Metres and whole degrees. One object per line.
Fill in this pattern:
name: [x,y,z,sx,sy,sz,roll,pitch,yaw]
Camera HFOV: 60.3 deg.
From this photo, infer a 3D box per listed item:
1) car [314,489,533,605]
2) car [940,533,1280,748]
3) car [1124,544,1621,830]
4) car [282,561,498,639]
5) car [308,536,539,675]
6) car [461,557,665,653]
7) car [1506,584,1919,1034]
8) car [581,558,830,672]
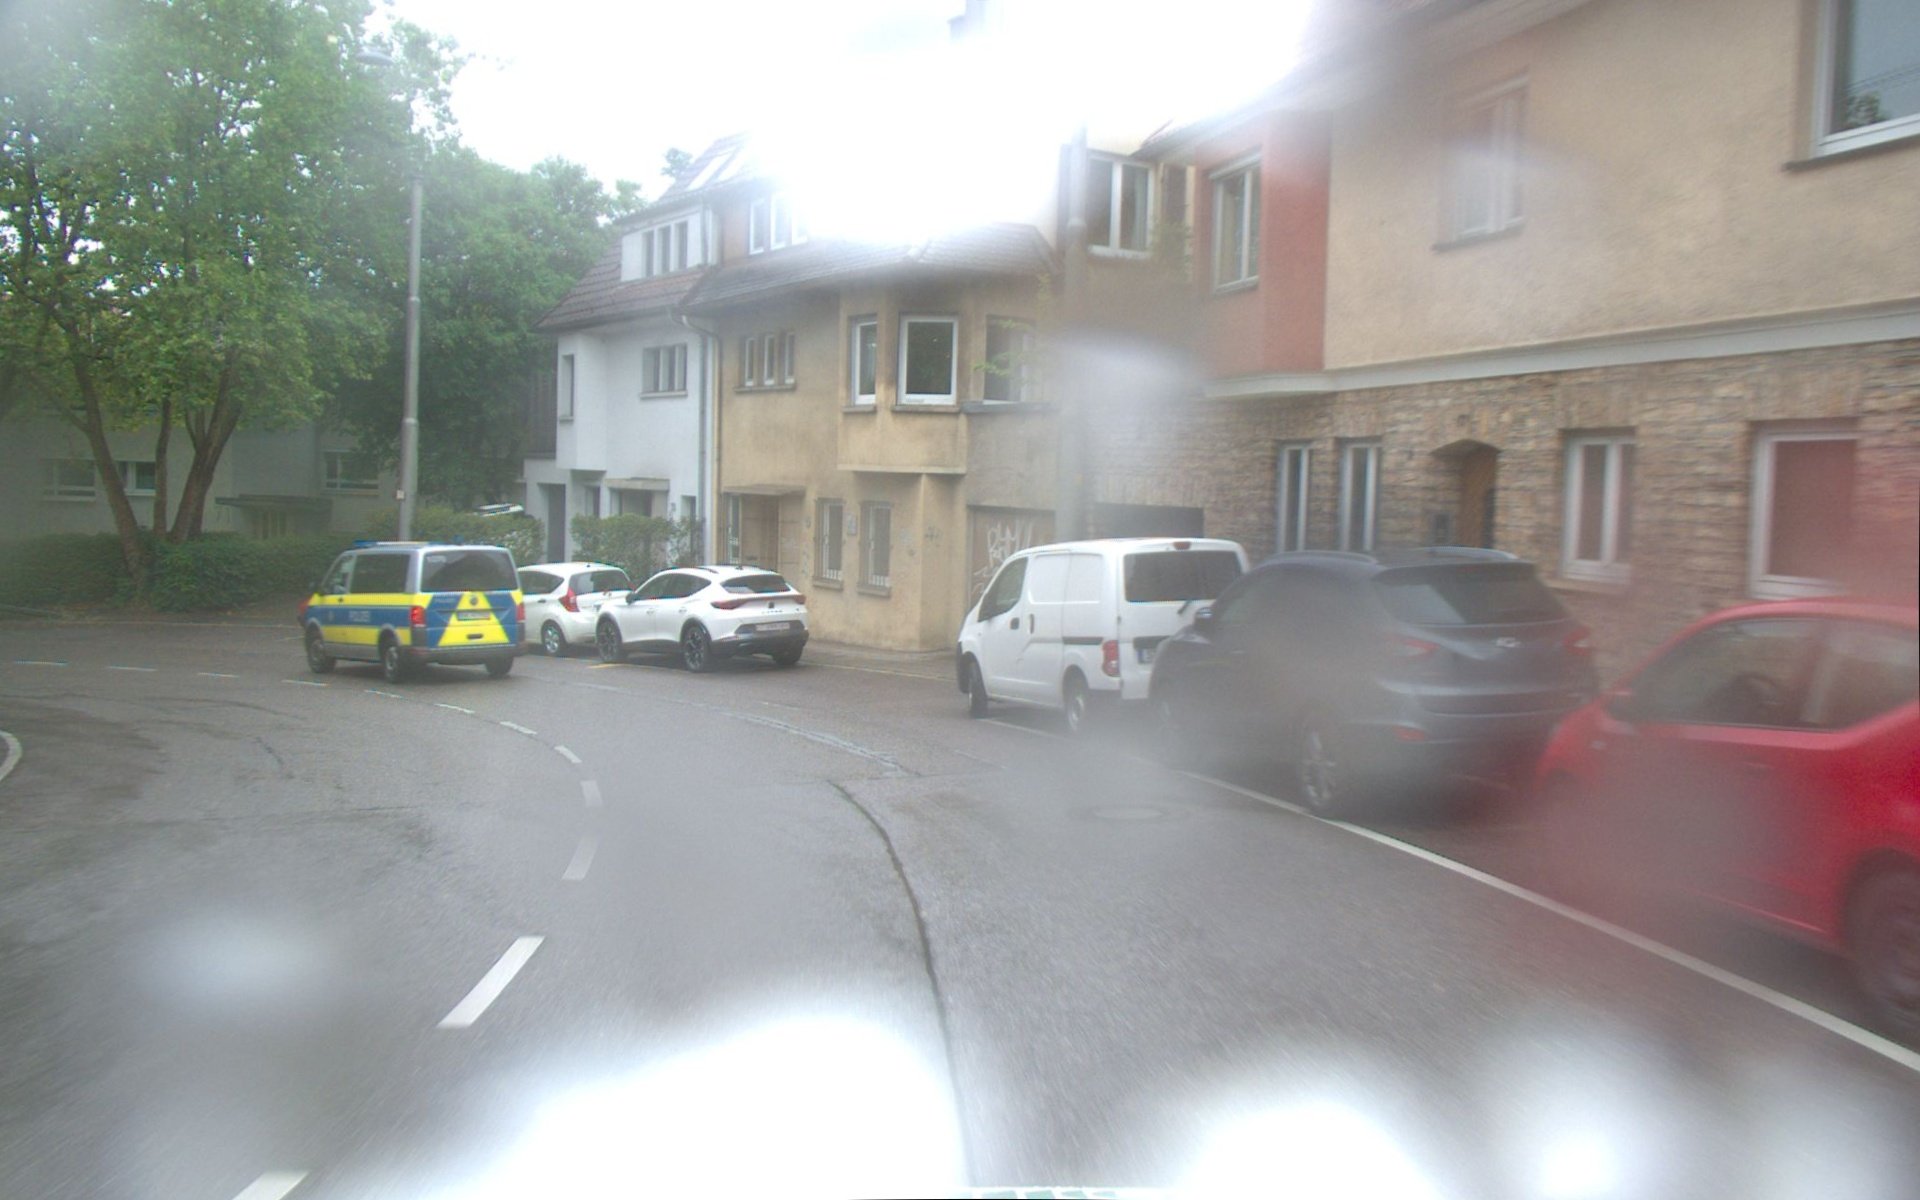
car: [-12.588,-1.305,38.868,4.357,1.871,1.981,-13,10,-29]
car: [1.352,0.294,16.768,1.681,1.822,4.299,-3,2,-21]
car: [2.684,0.433,11.911,1.588,1.632,4.395,-1,2,-14]
car: [-11.232,0.011,32.531,4.106,1.390,1.782,-1,3,32]
car: [-8.334,0.101,25.431,1.980,1.926,4.507,1,-1,-38]
car: [-7.101,0.068,29.401,3.758,1.541,1.759,0,3,44]
car: [3.800,0.677,6.805,1.584,1.460,3.576,-1,1,-7]
car: [-4.077,0.185,25.976,1.902,1.565,4.352,-4,3,-39]
